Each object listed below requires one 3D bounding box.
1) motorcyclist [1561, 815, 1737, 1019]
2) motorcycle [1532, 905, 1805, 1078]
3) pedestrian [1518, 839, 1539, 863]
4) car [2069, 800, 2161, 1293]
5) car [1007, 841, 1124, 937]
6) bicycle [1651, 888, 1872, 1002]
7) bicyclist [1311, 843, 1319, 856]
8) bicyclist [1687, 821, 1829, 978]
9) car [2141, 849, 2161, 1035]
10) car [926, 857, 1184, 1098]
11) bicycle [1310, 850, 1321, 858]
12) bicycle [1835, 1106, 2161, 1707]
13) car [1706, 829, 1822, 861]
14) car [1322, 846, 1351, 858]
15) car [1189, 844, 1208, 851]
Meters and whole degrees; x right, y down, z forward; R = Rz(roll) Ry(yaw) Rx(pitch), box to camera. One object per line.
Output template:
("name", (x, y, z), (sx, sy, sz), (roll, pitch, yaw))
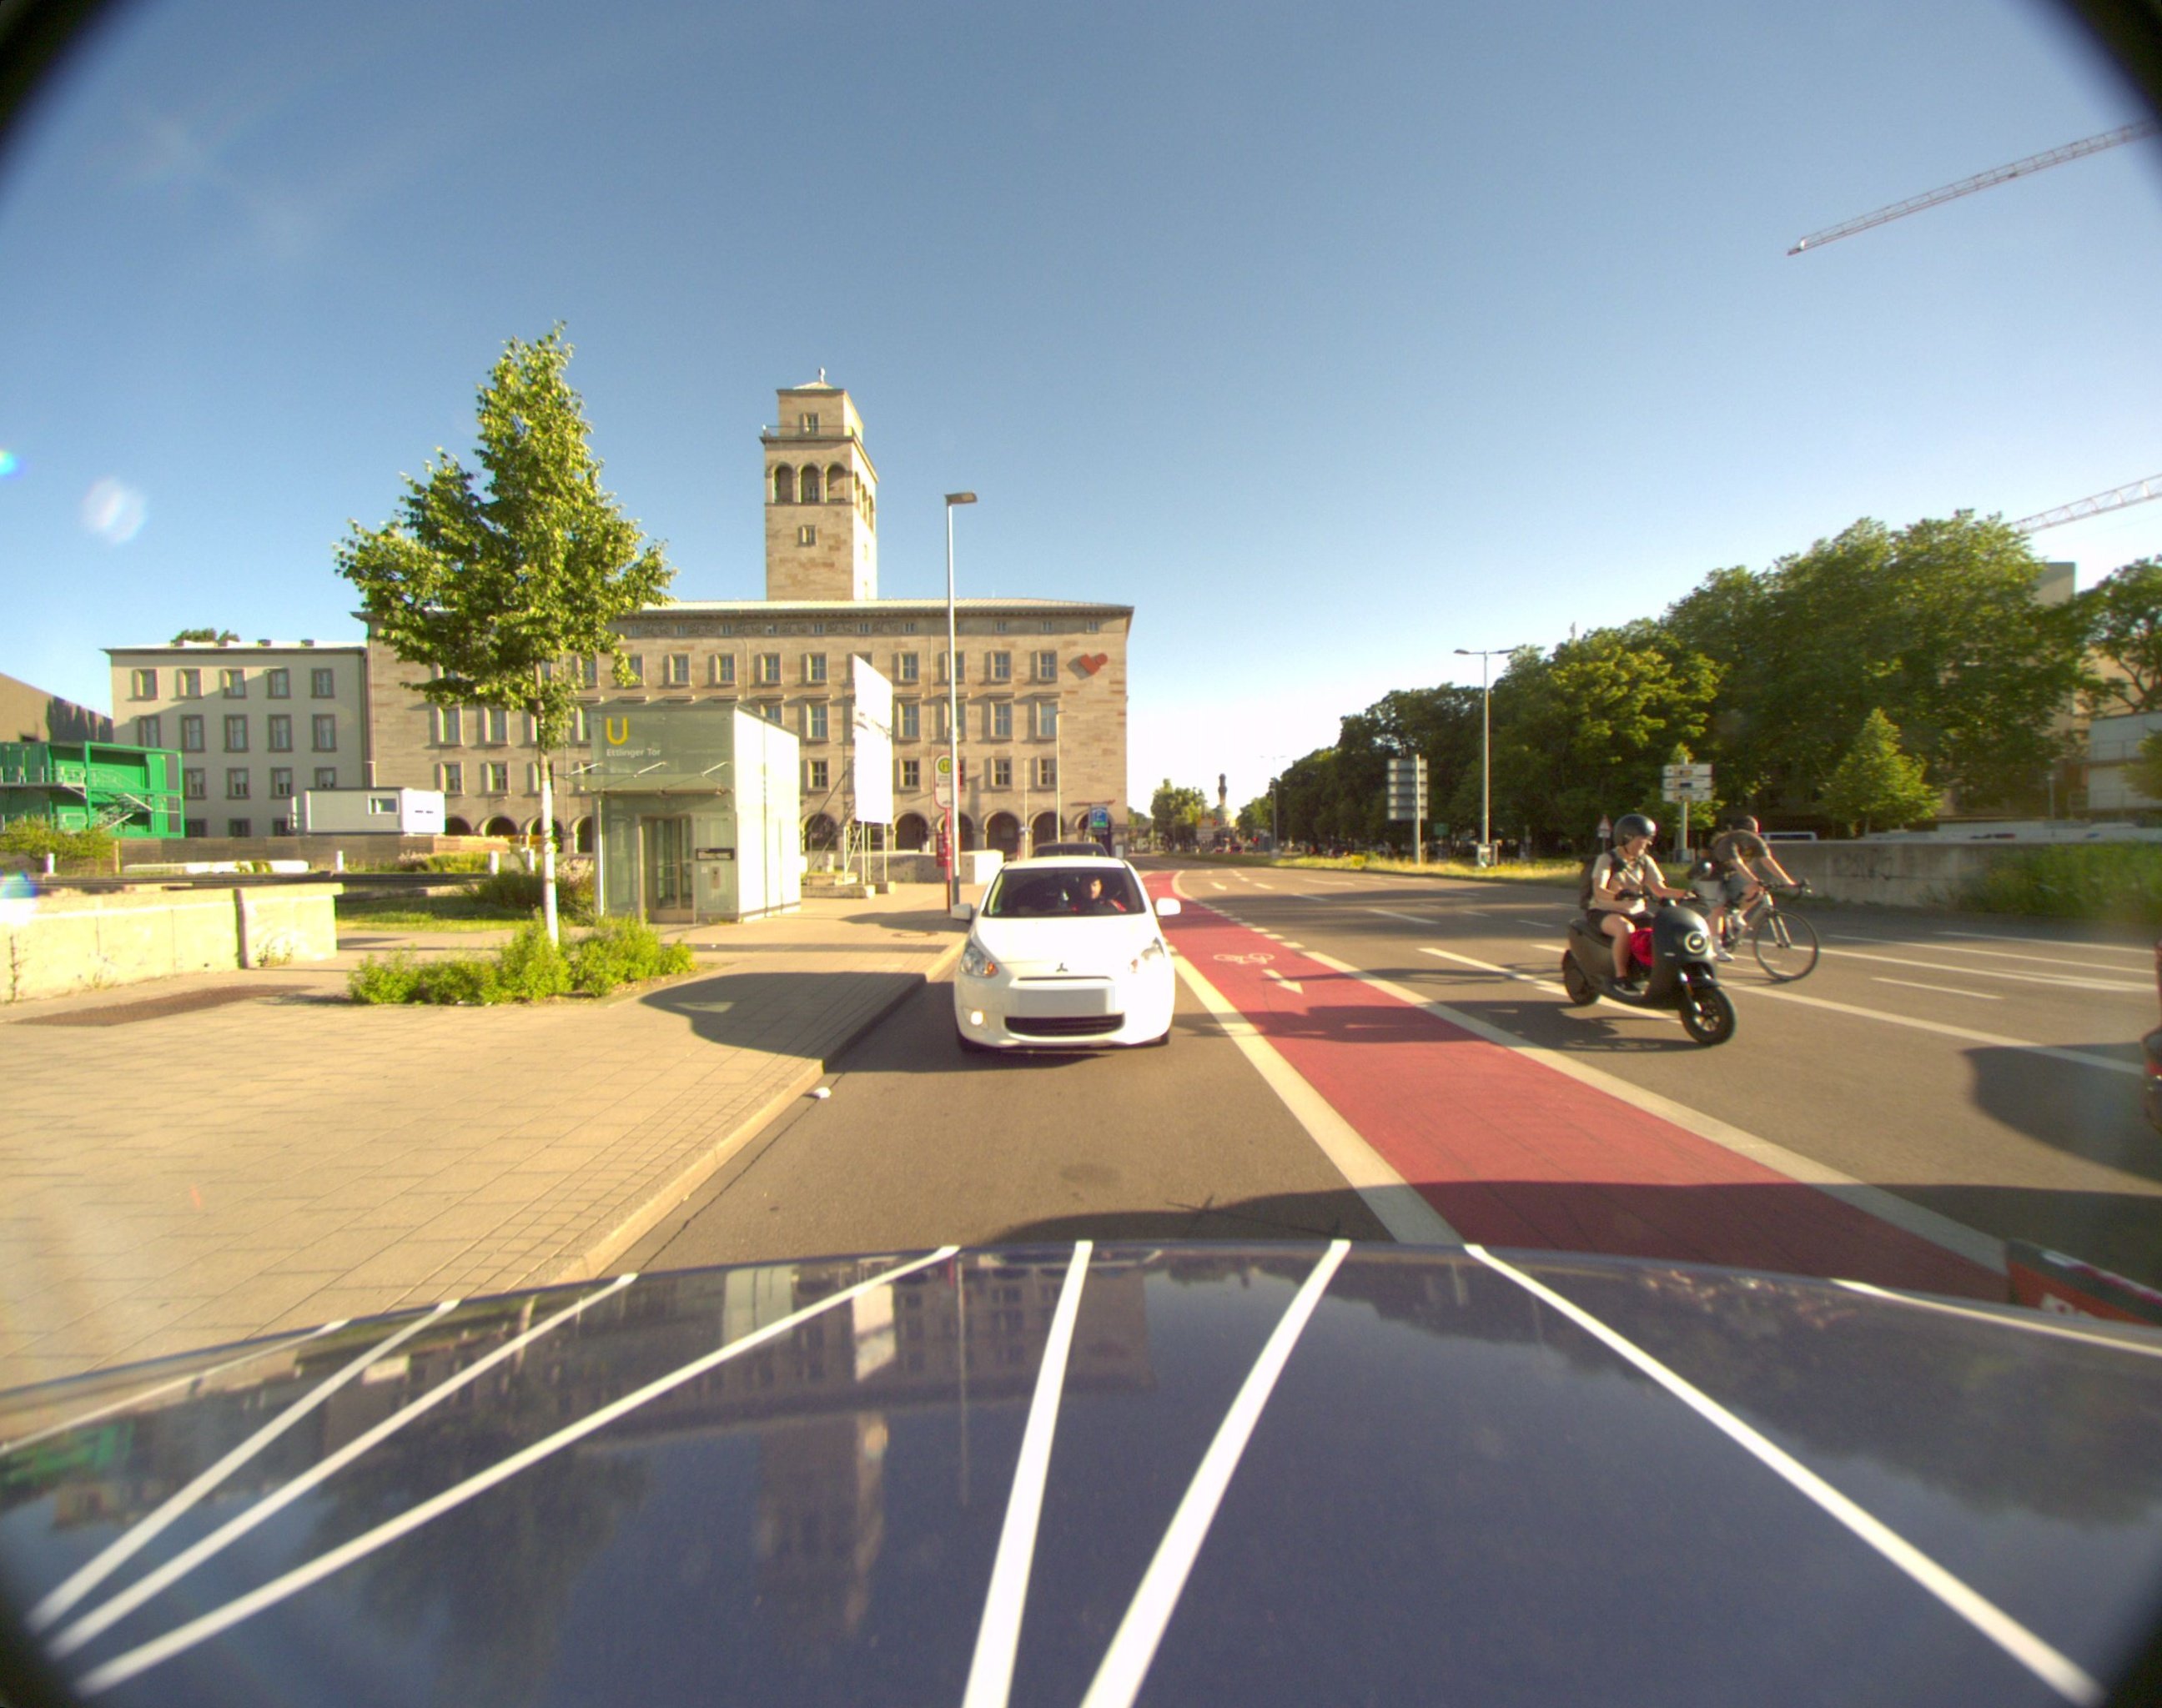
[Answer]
("motorcyclist", (4.411, 0.457, 5.973), (0.756, 1.475, 0.882), (-1, 1, 5))
("motorcycle", (4.416, 0.968, 5.939), (0.756, 0.963, 1.960), (-1, 1, 6))
("pedestrian", (34.664, -0.228, 58.892), (0.997, 1.773, 0.964), (-2, 2, 1))
("car", (4.747, 0.664, 0.390), (2.200, 1.652, 4.790), (-1, 1, -1))
("car", (-0.251, 0.567, 15.499), (1.998, 1.652, 4.791), (-1, 1, 0))
("bicycle", (6.882, 0.867, 7.834), (0.624, 0.903, 1.910), (-2, 1, 2))
("bicyclist", (25.185, -0.488, 81.727), (0.617, 1.359, 0.768), (-1, 1, 1))
("bicyclist", (6.869, 0.436, 7.753), (0.624, 1.495, 0.938), (-2, 1, 2))
("car", (8.759, 0.655, 3.365), (1.775, 1.344, 4.524), (-2, 1, -1))
("car", (-0.123, 0.838, 7.046), (1.660, 1.463, 3.968), (-3, 1, 1))
("bicycle", (25.191, -0.011, 81.745), (0.617, 0.800, 1.980), (-1, 1, 1))
("bicycle", (1.694, 1.010, 0.468), (0.652, 1.088, 1.800), (-1, 1, 0))
("car", (42.730, -0.554, 47.615), (5.325, 1.880, 2.000), (-1, 0, 3))
("car", (25.483, -0.189, 75.785), (1.618, 1.126, 3.770), (-2, 1, 0))
("car", (24.922, -1.343, 161.010), (3.767, 1.443, 1.619), (-2, 1, 3))
